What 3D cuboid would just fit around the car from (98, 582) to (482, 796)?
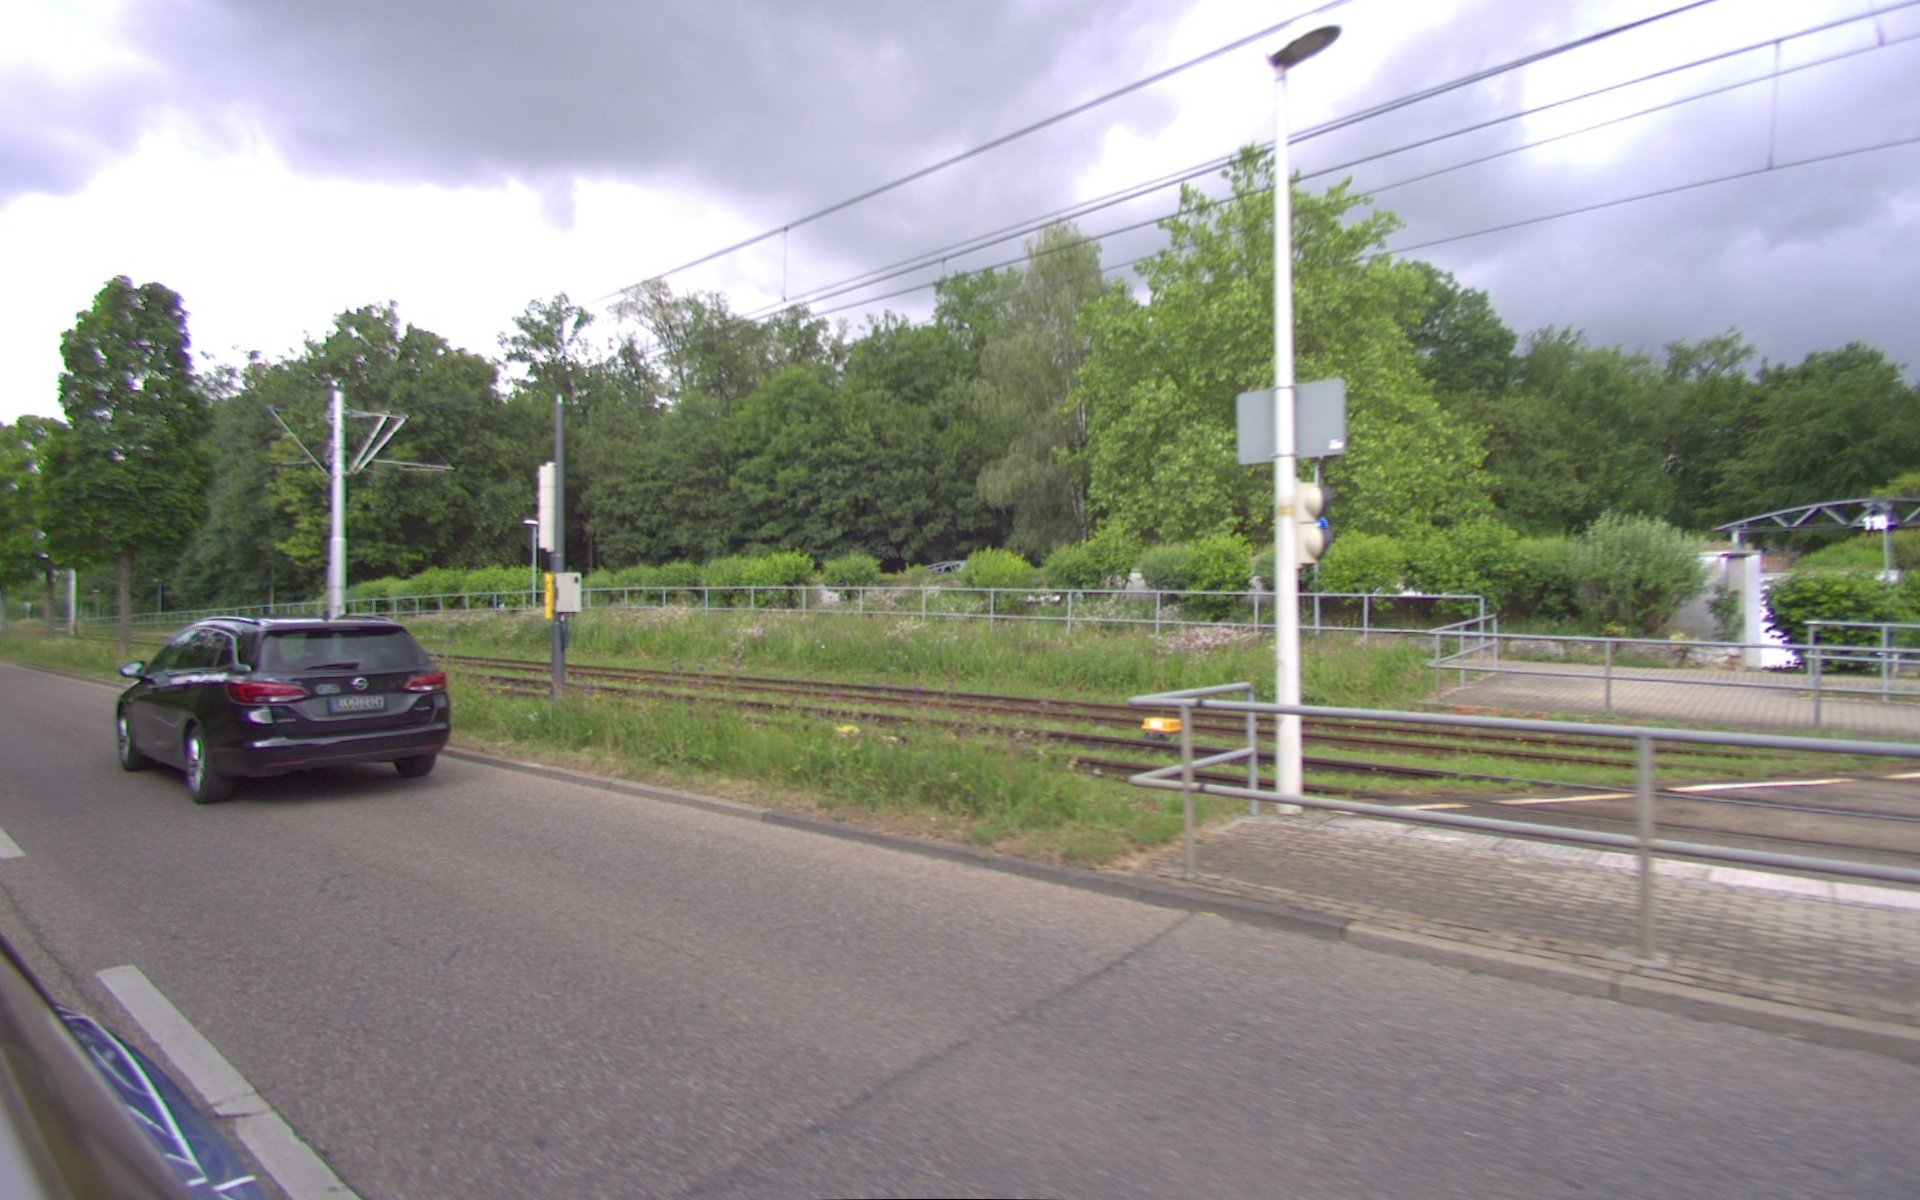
[{"bbox_3d":[-6.171,0.642,9.116,4.253,1.481,1.831,-1,-1,41],"label":"car"}]
